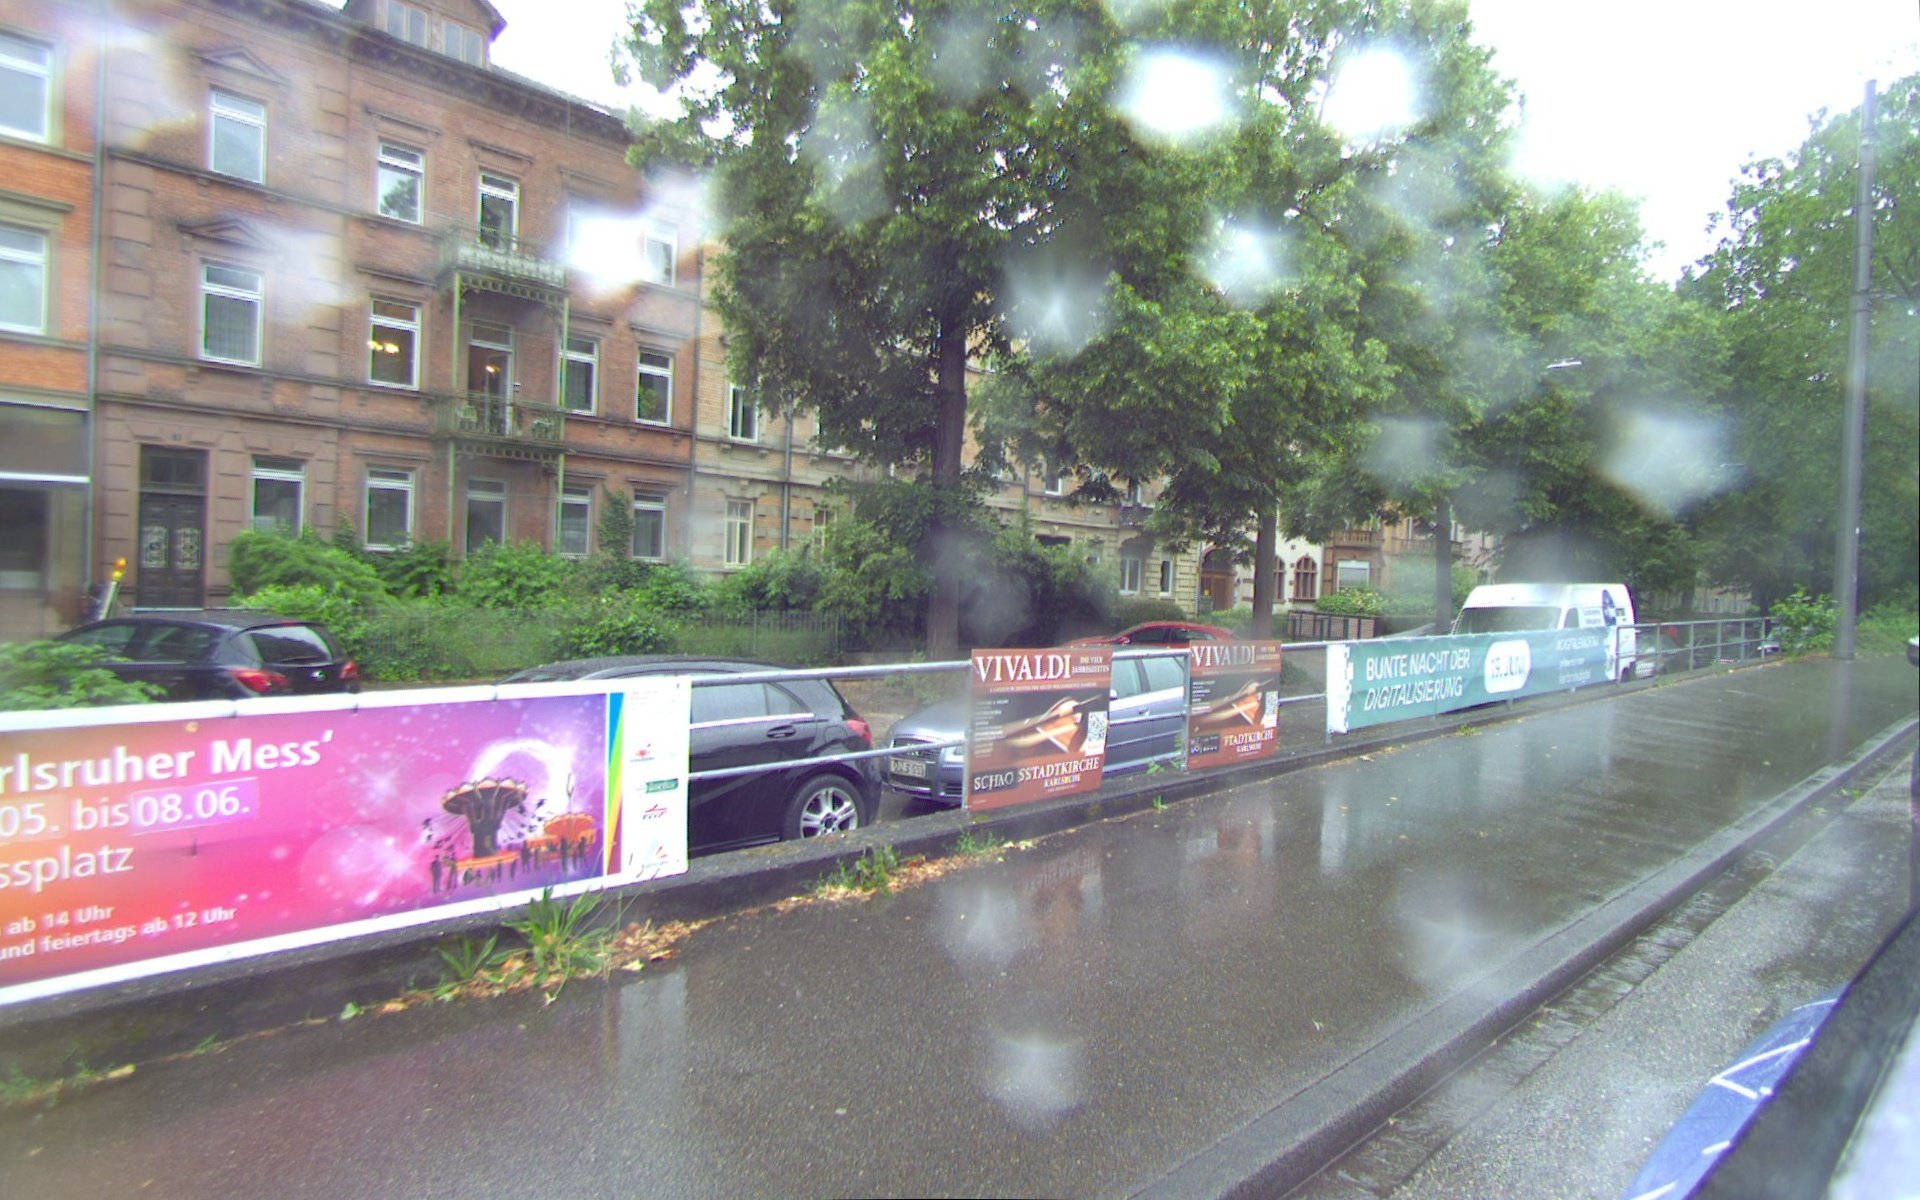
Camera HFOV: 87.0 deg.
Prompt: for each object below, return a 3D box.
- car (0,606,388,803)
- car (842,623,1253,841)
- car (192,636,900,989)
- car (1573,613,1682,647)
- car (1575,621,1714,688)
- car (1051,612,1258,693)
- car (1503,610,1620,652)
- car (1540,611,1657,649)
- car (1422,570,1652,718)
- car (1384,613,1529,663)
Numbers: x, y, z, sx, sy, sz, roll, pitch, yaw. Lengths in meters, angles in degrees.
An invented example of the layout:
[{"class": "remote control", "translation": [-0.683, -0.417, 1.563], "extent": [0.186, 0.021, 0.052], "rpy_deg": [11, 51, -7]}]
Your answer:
[{"class": "car", "translation": [-8.526, 0.981, 11.157], "extent": [3.959, 1.735, 1.983], "rpy_deg": [1, 1, 26]}, {"class": "car", "translation": [0.993, 1.057, 9.777], "extent": [4.006, 1.559, 1.734], "rpy_deg": [0, 0, -43]}, {"class": "car", "translation": [-2.446, 1.032, 6.523], "extent": [3.903, 1.417, 1.706], "rpy_deg": [0, 1, -41]}, {"class": "car", "translation": [32.067, 1.425, 48.733], "extent": [3.942, 1.482, 1.904], "rpy_deg": [0, 1, 15]}, {"class": "car", "translation": [16.537, 1.241, 24.372], "extent": [4.312, 1.370, 1.968], "rpy_deg": [0, 0, -44]}, {"class": "car", "translation": [4.387, 1.114, 22.732], "extent": [4.372, 1.471, 1.888], "rpy_deg": [2, 1, 18]}, {"class": "car", "translation": [25.587, 1.287, 43.174], "extent": [3.947, 1.629, 1.815], "rpy_deg": [1, 1, 19]}, {"class": "car", "translation": [28.495, 1.308, 45.295], "extent": [3.942, 1.585, 1.991], "rpy_deg": [0, 1, 15]}, {"class": "car", "translation": [11.361, 0.720, 19.668], "extent": [6.055, 2.451, 2.211], "rpy_deg": [0, 0, -43]}, {"class": "car", "translation": [16.507, 1.234, 33.893], "extent": [4.214, 1.397, 1.679], "rpy_deg": [2, 2, 22]}]
